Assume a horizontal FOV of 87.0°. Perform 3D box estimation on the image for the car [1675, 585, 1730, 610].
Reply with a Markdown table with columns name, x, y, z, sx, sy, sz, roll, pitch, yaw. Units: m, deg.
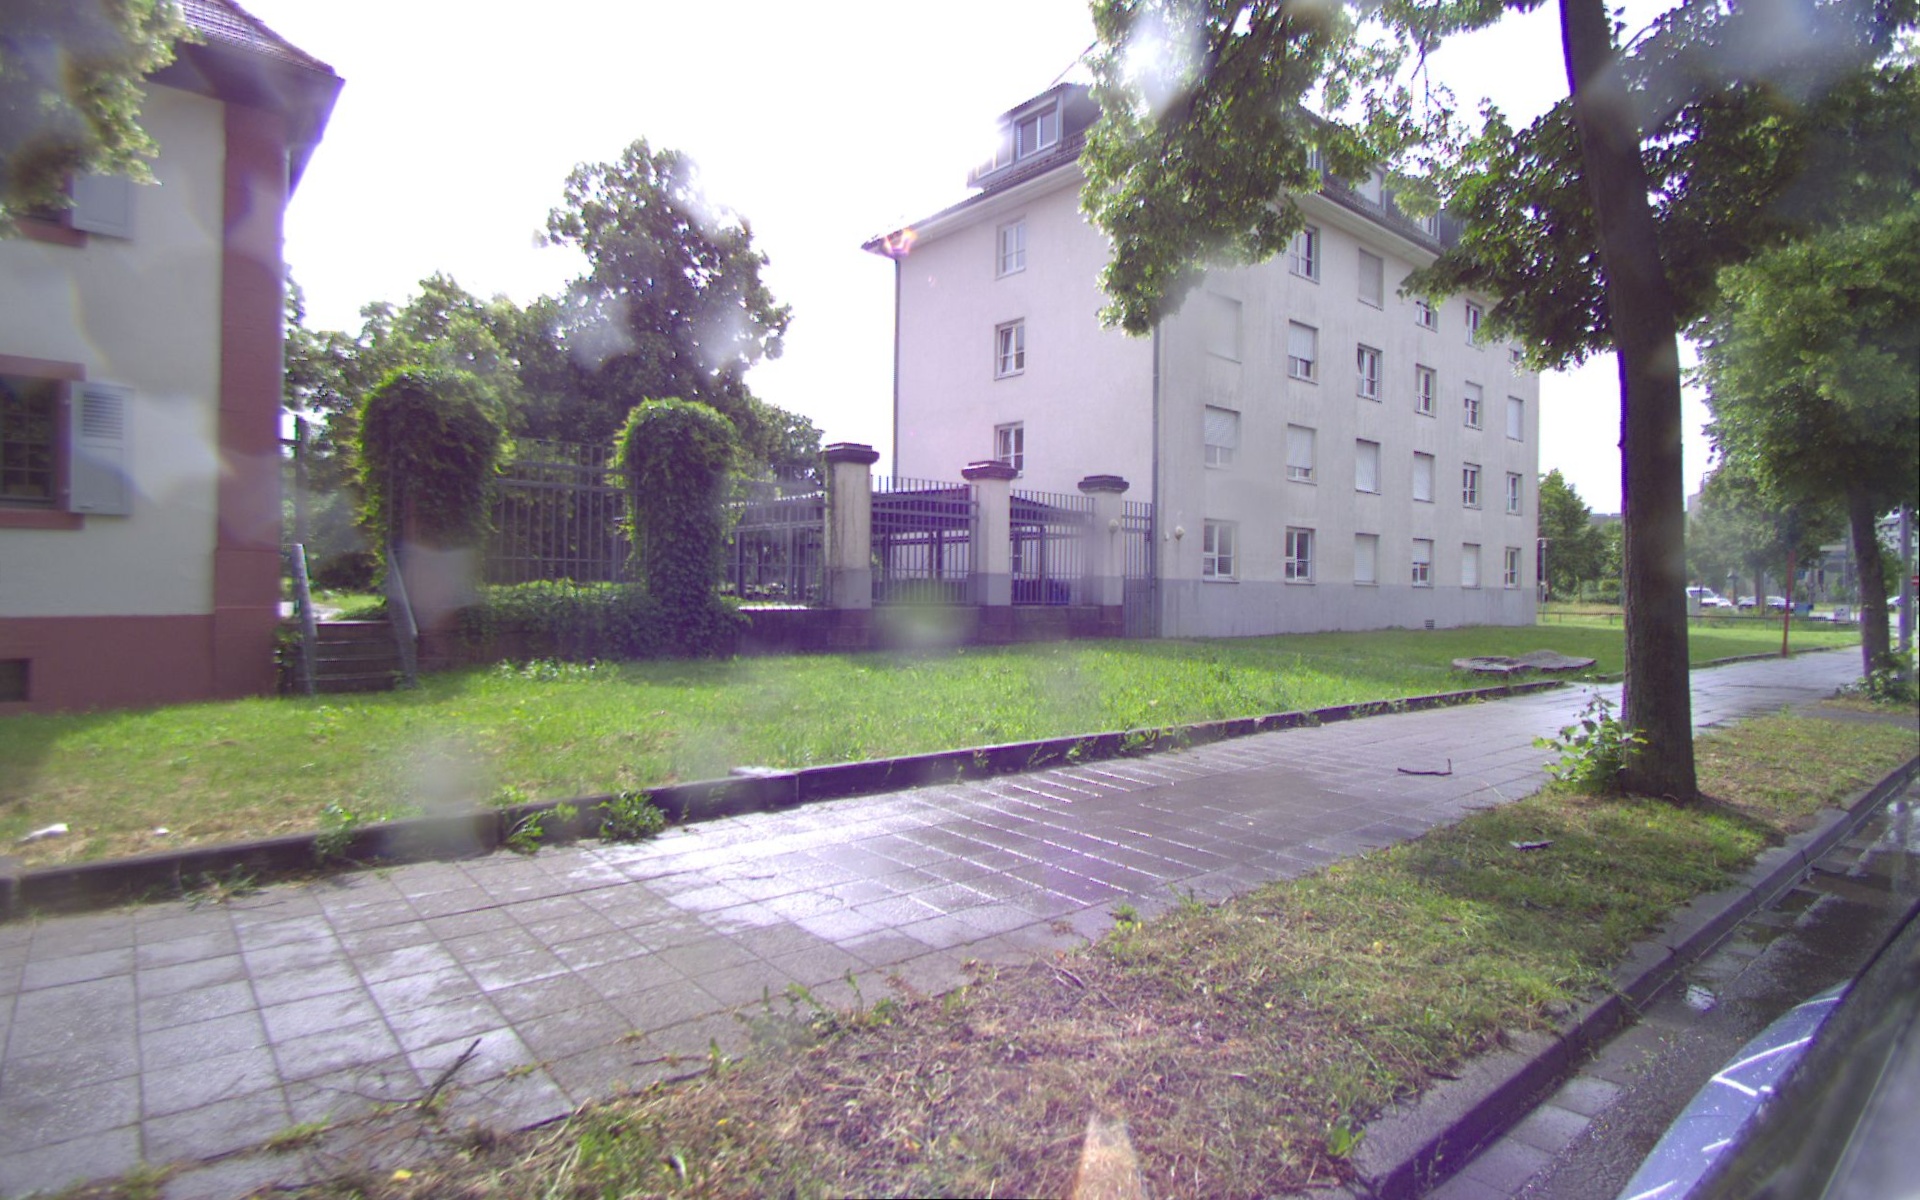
| name | x | y | z | sx | sy | sz | roll | pitch | yaw |
| --- | --- | --- | --- | --- | --- | --- | --- | --- | --- |
| car | 55.066 | -0.225 | 75.101 | 1.866 | 1.735 | 4.209 | 1 | 1 | 15 |

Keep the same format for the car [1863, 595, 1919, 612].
| name | x | y | z | sx | sy | sz | roll | pitch | yaw |
| --- | --- | --- | --- | --- | --- | --- | --- | --- | --- |
| car | 91.790 | 0.327 | 99.554 | 4.065 | 1.549 | 1.659 | 1 | 0 | 19 |
